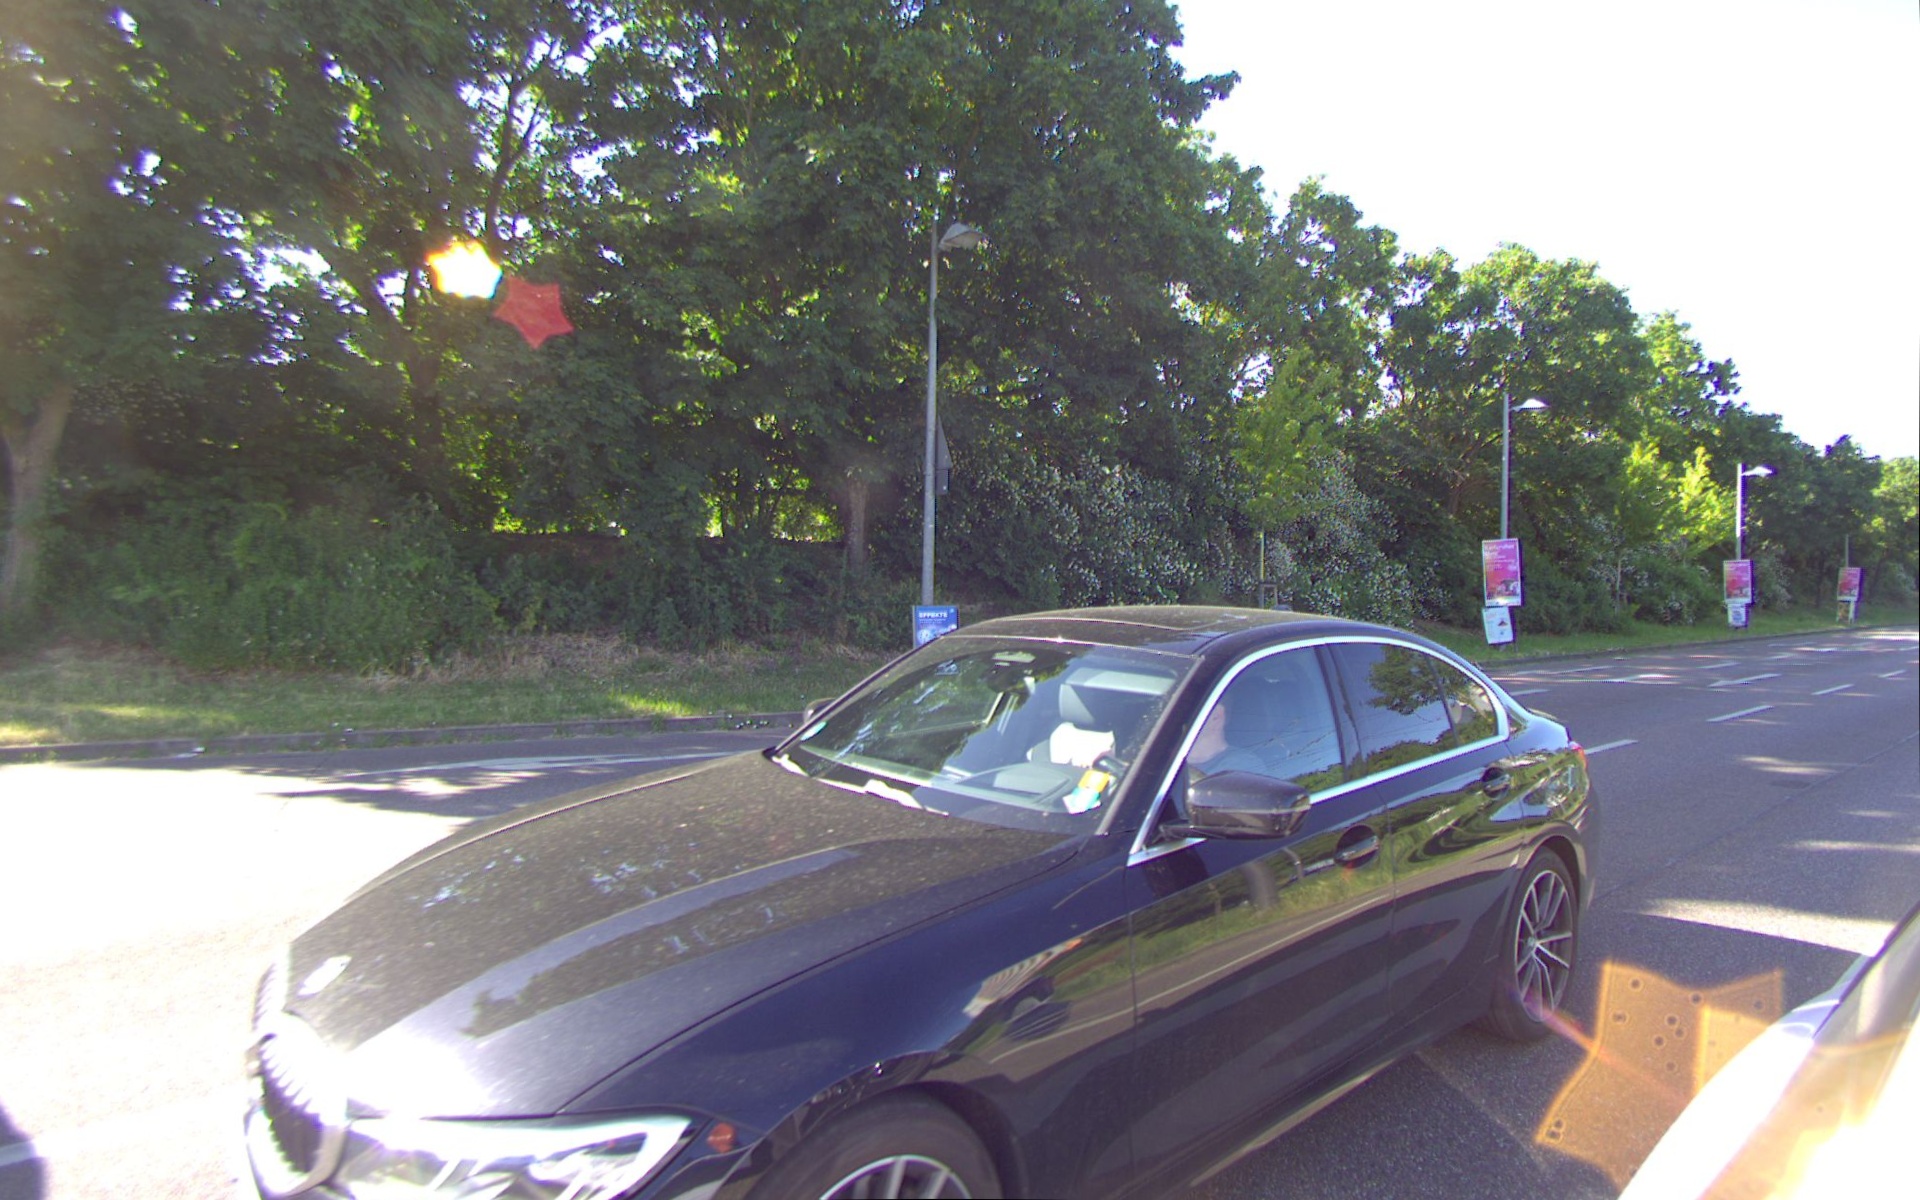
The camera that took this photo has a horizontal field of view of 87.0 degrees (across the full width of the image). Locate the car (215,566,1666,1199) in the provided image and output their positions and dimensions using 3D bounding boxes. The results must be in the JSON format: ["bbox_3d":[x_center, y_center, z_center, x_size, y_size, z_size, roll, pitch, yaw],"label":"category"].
[{"bbox_3d":[0.414,0.644,3.189,4.364,1.415,1.874,0,1,-40],"label":"car"}]
